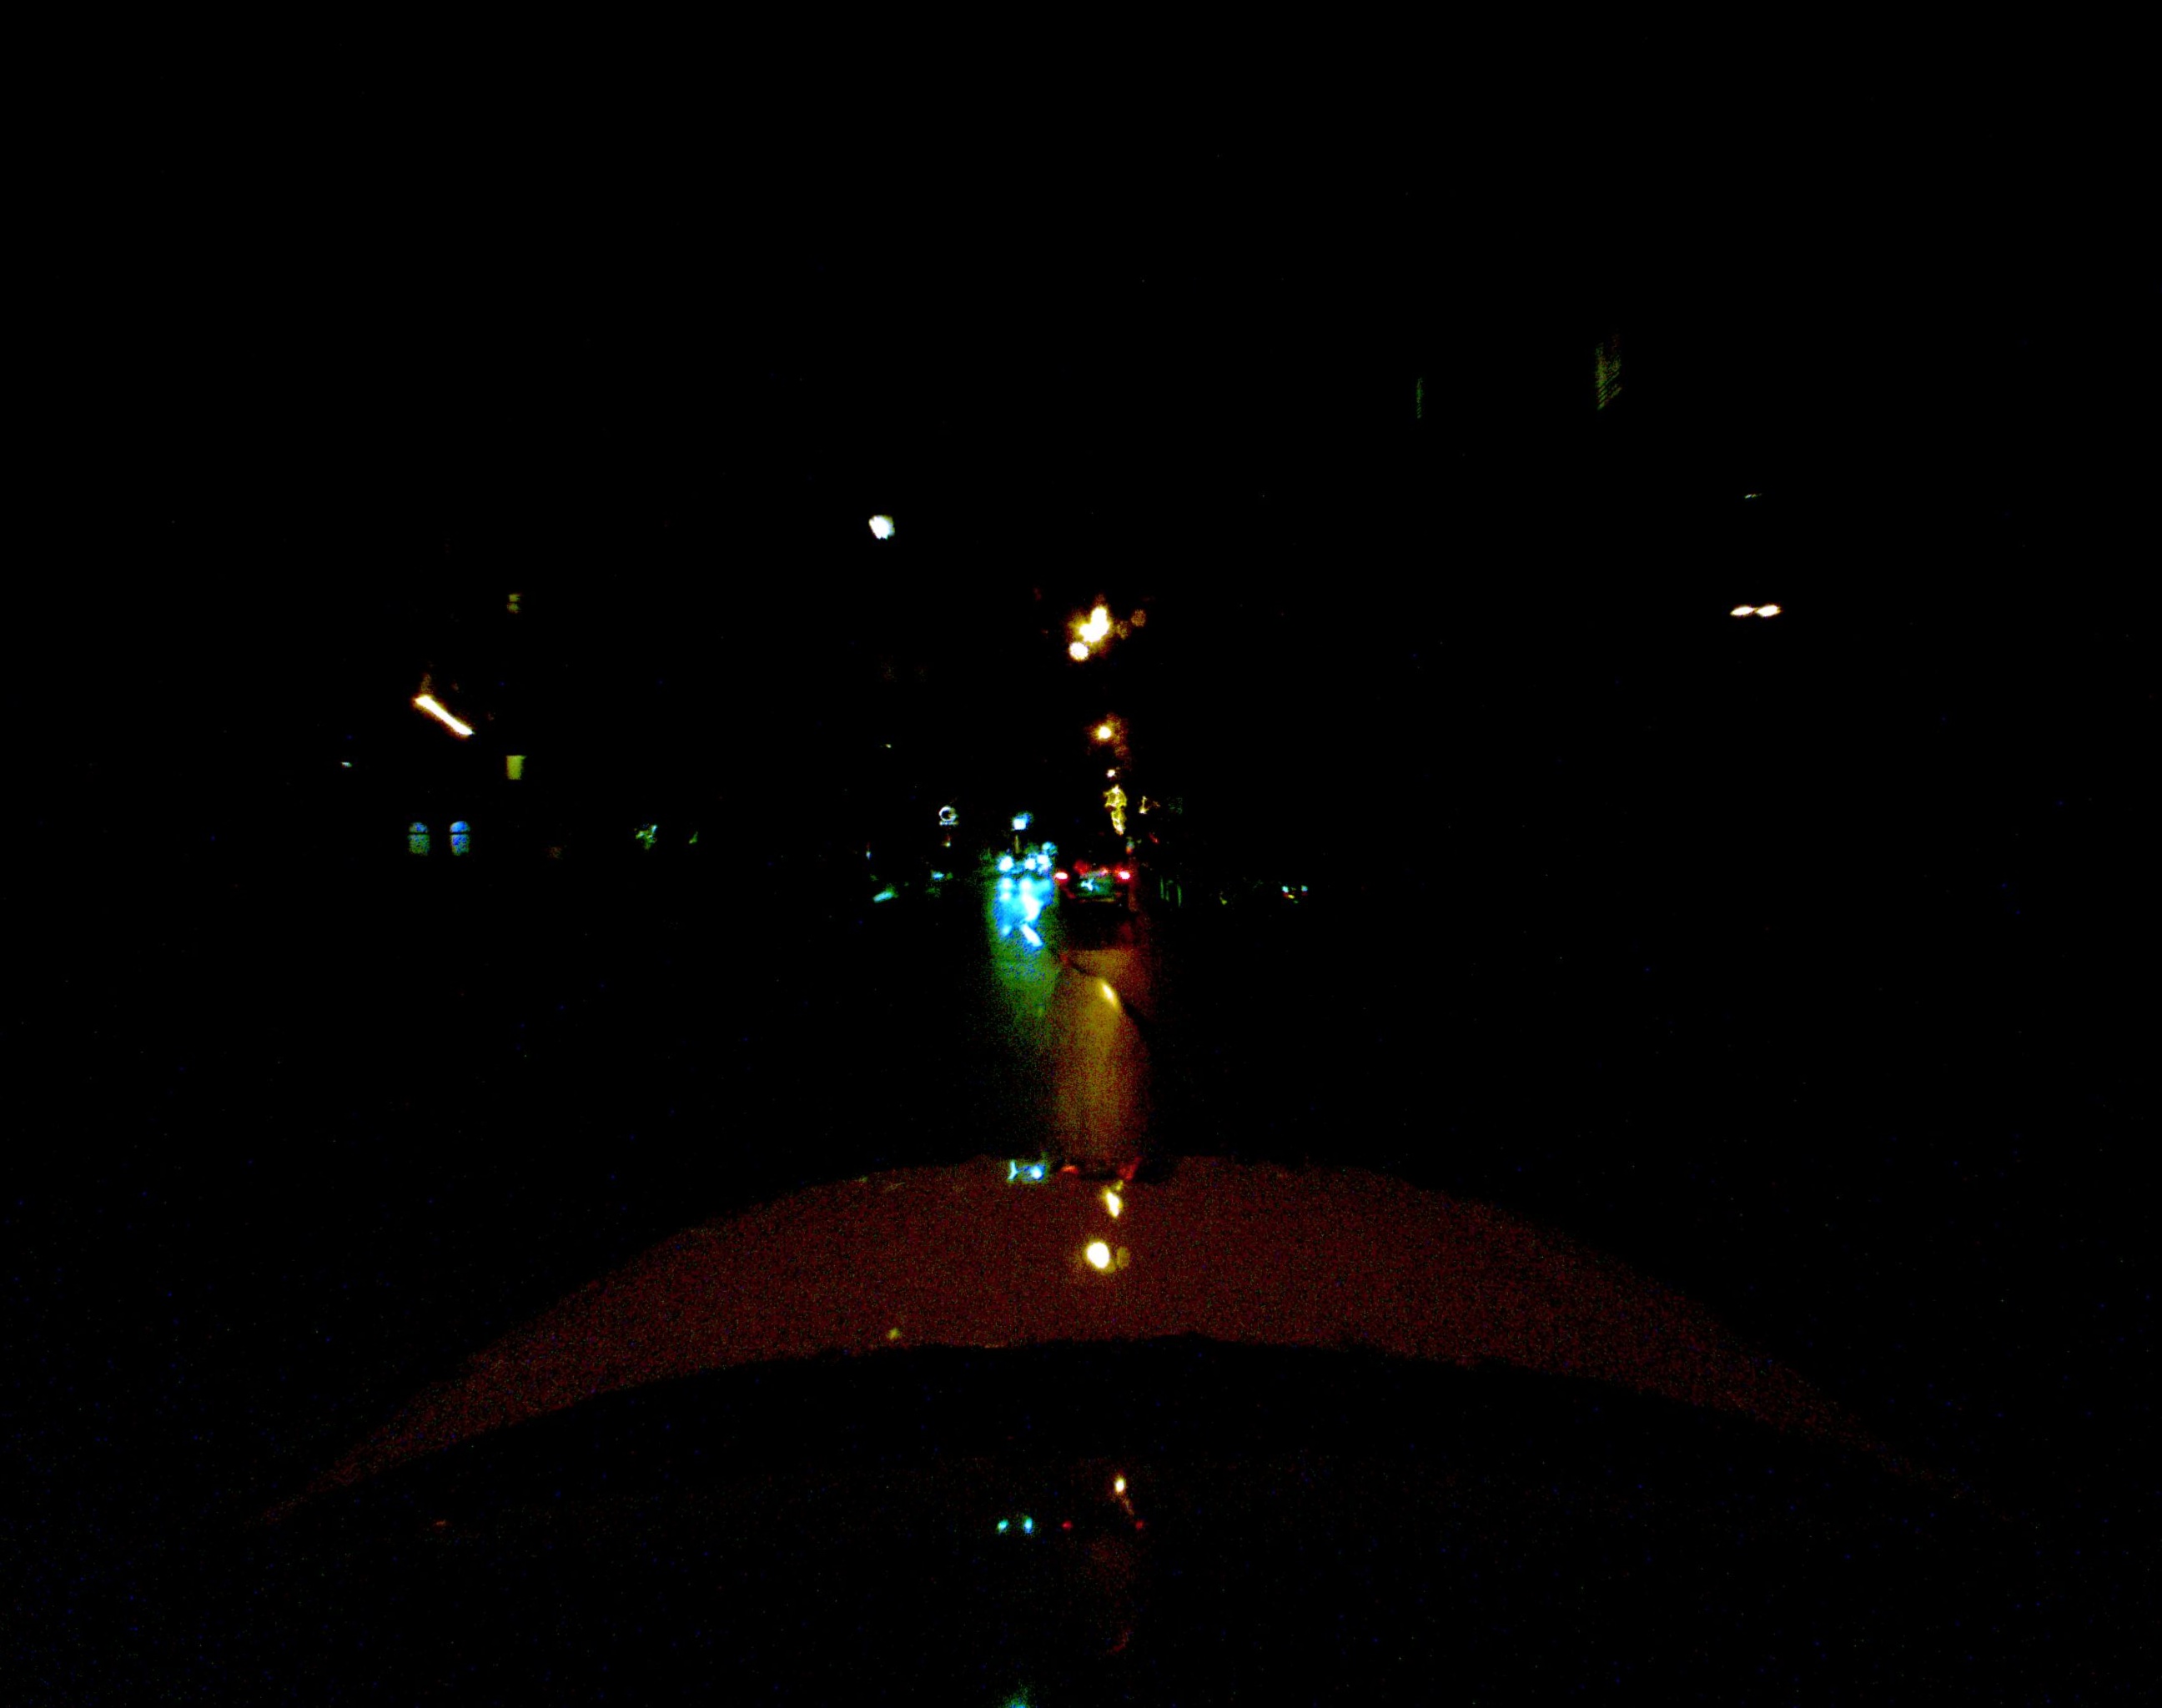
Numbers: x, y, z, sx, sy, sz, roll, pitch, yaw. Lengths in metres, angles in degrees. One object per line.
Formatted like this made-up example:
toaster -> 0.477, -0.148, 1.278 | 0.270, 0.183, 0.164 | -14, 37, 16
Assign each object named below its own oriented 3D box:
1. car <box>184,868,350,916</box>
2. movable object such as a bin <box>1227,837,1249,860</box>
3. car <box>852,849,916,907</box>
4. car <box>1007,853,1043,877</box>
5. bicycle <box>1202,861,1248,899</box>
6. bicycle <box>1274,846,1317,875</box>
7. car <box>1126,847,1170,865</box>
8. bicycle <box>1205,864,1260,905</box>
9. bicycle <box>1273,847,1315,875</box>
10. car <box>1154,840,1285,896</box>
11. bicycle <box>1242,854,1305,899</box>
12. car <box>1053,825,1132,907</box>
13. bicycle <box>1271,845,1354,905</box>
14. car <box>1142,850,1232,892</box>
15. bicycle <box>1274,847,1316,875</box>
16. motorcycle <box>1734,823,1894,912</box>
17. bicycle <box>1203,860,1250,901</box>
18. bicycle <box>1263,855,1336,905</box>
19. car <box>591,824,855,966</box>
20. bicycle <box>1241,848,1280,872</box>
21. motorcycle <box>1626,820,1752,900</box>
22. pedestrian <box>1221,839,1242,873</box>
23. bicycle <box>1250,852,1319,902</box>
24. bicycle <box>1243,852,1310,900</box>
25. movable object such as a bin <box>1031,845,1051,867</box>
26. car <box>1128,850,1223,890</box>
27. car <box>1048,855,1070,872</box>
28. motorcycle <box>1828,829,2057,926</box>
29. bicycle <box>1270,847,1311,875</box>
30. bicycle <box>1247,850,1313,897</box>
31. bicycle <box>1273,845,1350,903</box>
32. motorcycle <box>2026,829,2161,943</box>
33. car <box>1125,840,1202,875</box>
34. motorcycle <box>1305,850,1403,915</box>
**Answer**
car -> -28.982, 1.333, 29.111 | 3.975, 1.608, 1.854 | 0, 0, -2
movable object such as a bin -> 10.424, -0.360, 54.005 | 1.204, 1.451, 0.999 | -5, 0, 3
car -> -5.371, 0.614, 22.395 | 1.548, 1.443, 3.548 | 1, 0, -13
car -> -3.292, 0.600, 48.432 | 1.647, 1.359, 4.225 | 0, 0, 3
bicycle -> 3.816, 0.685, 21.646 | 1.128, 0.948, 0.267 | -3, 0, 0
bicycle -> 9.313, 0.297, 35.345 | 1.683, 1.146, 0.428 | -4, 0, -6
car -> 6.201, 0.174, 75.497 | 3.687, 1.460, 1.592 | -2, 0, -23
bicycle -> 3.547, 0.714, 19.094 | 1.207, 0.948, 0.302 | -1, 0, -1
bicycle -> 9.528, 0.304, 36.448 | 1.683, 1.146, 0.485 | -4, 0, -6
car -> 4.350, 0.410, 25.636 | 3.716, 1.522, 1.644 | -3, 0, -23
bicycle -> 5.170, 0.604, 21.956 | 1.585, 1.158, 0.541 | -2, 0, 10
car -> 0.397, 0.317, 22.541 | 1.985, 2.050, 4.003 | 0, -1, 3
bicycle -> 5.059, 0.462, 17.851 | 1.656, 1.234, 0.386 | -2, 0, 4
car -> 4.026, 0.616, 30.990 | 3.048, 1.552, 1.495 | 0, 0, -19
bicycle -> 9.446, 0.303, 35.916 | 1.683, 1.146, 0.428 | -4, 0, -6
motorcycle -> 10.814, 0.173, 12.134 | 0.521, 1.207, 2.126 | 0, 0, 2
bicycle -> 3.812, 0.693, 21.366 | 1.128, 0.974, 0.249 | -4, 0, 0
bicycle -> 5.177, 0.614, 19.304 | 1.591, 1.112, 0.417 | -2, 0, -1
car -> -5.428, 0.535, 13.209 | 1.858, 1.846, 4.831 | -1, 0, 3
bicycle -> 9.774, 0.318, 44.378 | 1.968, 1.191, 0.509 | -3, 0, -4
motorcycle -> 10.673, 0.091, 14.399 | 0.522, 1.318, 2.122 | 0, 0, -4
pedestrian -> 8.590, 0.105, 46.468 | 0.836, 1.835, 0.947 | -5, -1, -1
bicycle -> 5.076, 0.560, 20.317 | 1.591, 1.158, 0.417 | -2, 0, -1
bicycle -> 4.978, 0.549, 20.758 | 1.591, 1.158, 0.417 | -2, 0, -1
movable object such as a bin -> -2.786, 0.152, 56.609 | 1.203, 1.459, 1.108 | 1, 0, 5
car -> 3.945, 0.656, 34.134 | 3.565, 1.611, 1.702 | 0, 0, -19
car -> -2.000, 0.830, 74.078 | 1.679, 1.455, 4.318 | 1, 1, 2
motorcycle -> 10.411, 0.260, 9.976 | 0.522, 1.067, 2.054 | 0, 0, -5
bicycle -> 9.514, 0.304, 37.015 | 1.683, 1.146, 0.540 | -4, 0, -6
bicycle -> 5.185, 0.499, 21.247 | 1.591, 1.158, 0.417 | -2, 0, -1
bicycle -> 5.184, 0.444, 18.365 | 1.572, 1.234, 0.418 | -2, 0, 4
motorcycle -> 10.401, 0.298, 7.929 | 0.521, 1.067, 1.624 | 0, 0, 0
car -> 4.844, 0.189, 47.618 | 4.264, 1.858, 1.699 | -3, 0, -33
motorcycle -> 5.270, 0.538, 15.770 | 1.630, 1.124, 0.652 | -3, 0, -5
